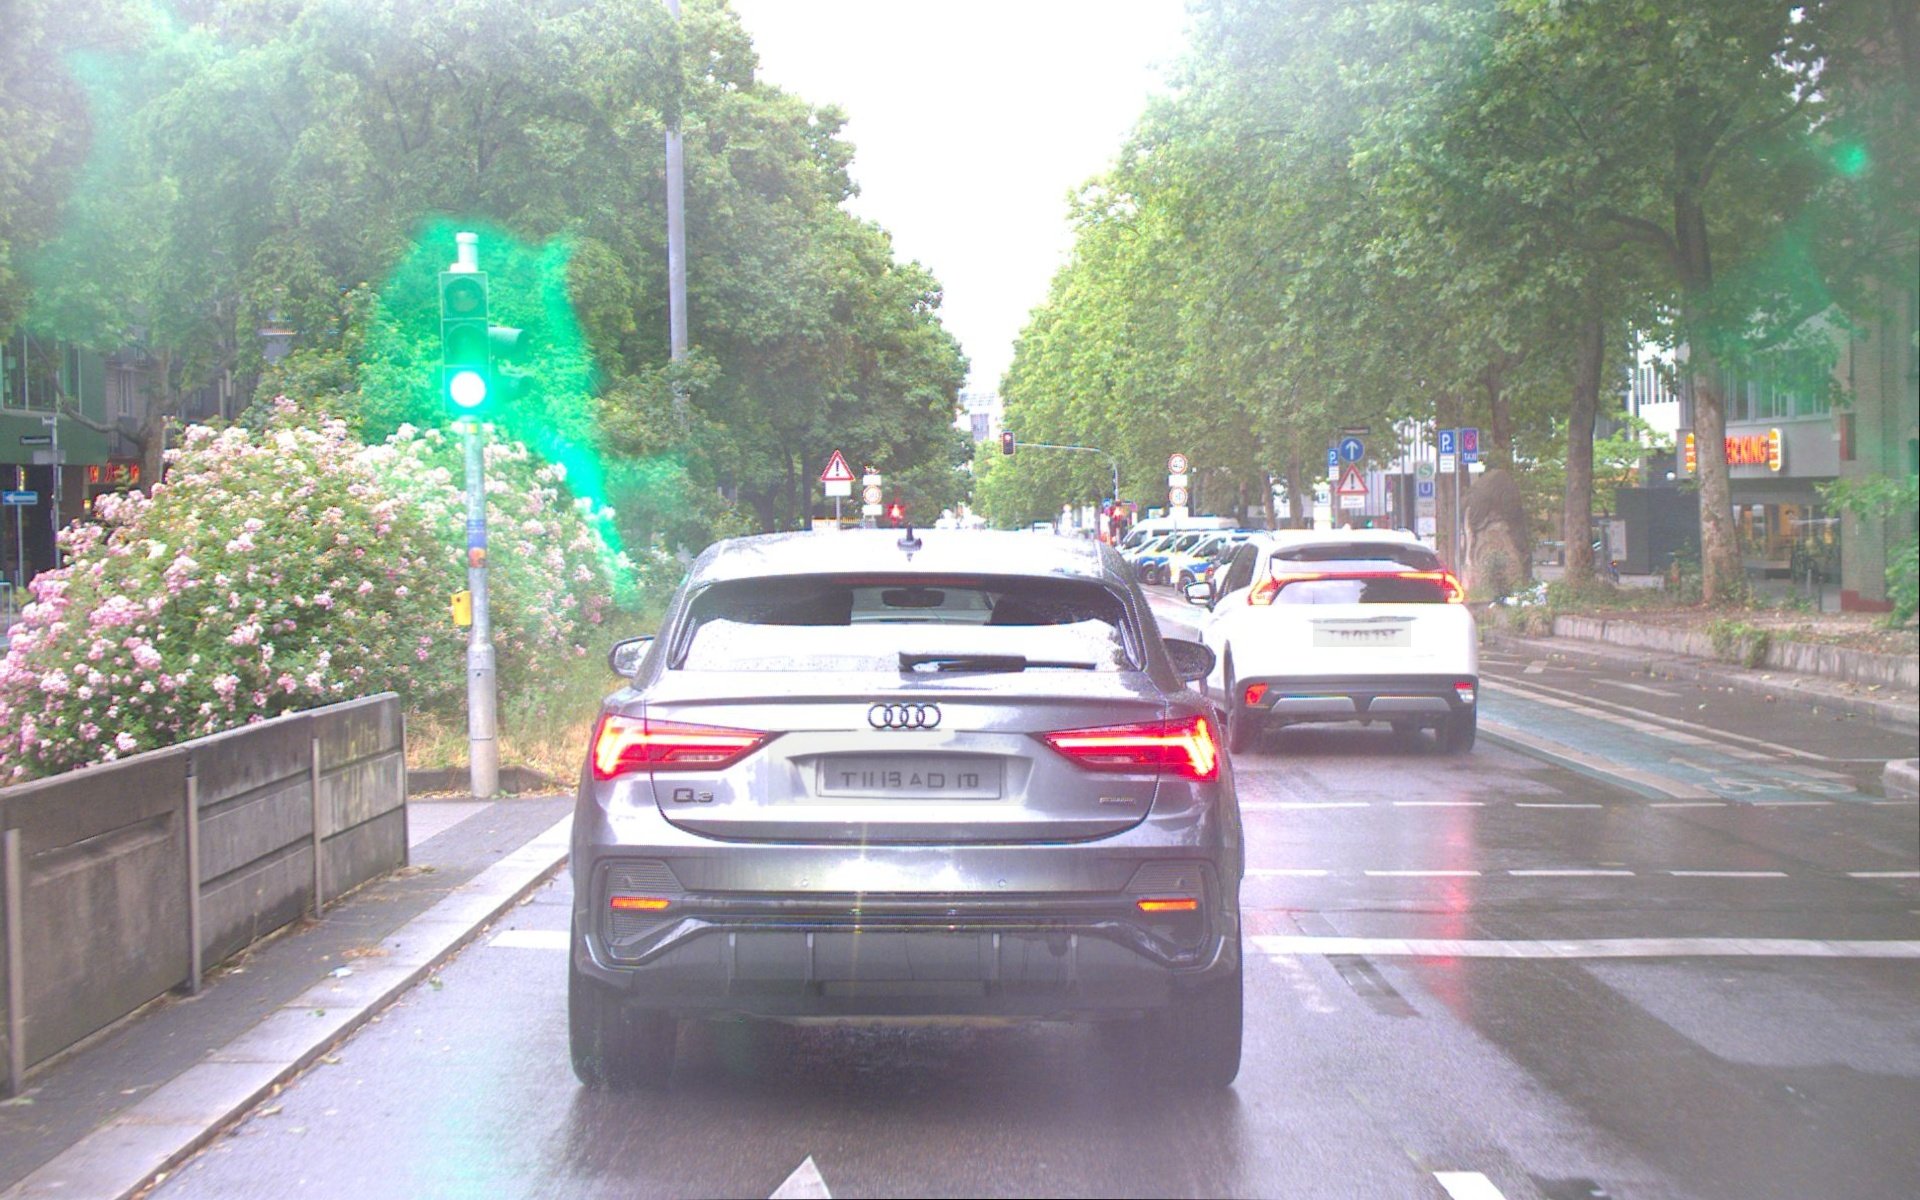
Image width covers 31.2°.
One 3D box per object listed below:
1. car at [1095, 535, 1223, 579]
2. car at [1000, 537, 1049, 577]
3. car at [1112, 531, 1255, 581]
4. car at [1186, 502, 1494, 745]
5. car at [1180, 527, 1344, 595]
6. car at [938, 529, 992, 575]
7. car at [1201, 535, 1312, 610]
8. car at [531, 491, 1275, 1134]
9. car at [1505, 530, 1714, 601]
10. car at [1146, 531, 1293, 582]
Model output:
[{"bbox_3d":[7.881,-1.703,136.037,4.645,1.700,1.997,1,0,28],"label":"car"},{"bbox_3d":[2.746,-1.818,146.563,1.993,1.645,4.000,1,0,0],"label":"car"},{"bbox_3d":[7.957,-1.561,122.448,4.645,1.700,1.997,1,0,28],"label":"car"},{"bbox_3d":[2.820,0.152,26.352,1.878,1.691,4.000,1,0,0],"label":"car"},{"bbox_3d":[9.155,-1.182,104.407,4.602,2.007,1.964,1,0,38],"label":"car"},{"bbox_3d":[0.162,-1.820,132.147,1.993,1.721,4.000,1,0,-1],"label":"car"},{"bbox_3d":[6.408,-0.601,74.730,1.727,1.566,4.074,1,0,-5],"label":"car"},{"bbox_3d":[-0.182,0.499,10.550,1.849,1.596,4.000,0,1,-1],"label":"car"},{"bbox_3d":[10.194,-0.544,54.011,2.889,1.071,1.453,1,0,31],"label":"car"},{"bbox_3d":[8.968,-1.508,118.919,4.645,1.700,1.997,1,0,28],"label":"car"}]
